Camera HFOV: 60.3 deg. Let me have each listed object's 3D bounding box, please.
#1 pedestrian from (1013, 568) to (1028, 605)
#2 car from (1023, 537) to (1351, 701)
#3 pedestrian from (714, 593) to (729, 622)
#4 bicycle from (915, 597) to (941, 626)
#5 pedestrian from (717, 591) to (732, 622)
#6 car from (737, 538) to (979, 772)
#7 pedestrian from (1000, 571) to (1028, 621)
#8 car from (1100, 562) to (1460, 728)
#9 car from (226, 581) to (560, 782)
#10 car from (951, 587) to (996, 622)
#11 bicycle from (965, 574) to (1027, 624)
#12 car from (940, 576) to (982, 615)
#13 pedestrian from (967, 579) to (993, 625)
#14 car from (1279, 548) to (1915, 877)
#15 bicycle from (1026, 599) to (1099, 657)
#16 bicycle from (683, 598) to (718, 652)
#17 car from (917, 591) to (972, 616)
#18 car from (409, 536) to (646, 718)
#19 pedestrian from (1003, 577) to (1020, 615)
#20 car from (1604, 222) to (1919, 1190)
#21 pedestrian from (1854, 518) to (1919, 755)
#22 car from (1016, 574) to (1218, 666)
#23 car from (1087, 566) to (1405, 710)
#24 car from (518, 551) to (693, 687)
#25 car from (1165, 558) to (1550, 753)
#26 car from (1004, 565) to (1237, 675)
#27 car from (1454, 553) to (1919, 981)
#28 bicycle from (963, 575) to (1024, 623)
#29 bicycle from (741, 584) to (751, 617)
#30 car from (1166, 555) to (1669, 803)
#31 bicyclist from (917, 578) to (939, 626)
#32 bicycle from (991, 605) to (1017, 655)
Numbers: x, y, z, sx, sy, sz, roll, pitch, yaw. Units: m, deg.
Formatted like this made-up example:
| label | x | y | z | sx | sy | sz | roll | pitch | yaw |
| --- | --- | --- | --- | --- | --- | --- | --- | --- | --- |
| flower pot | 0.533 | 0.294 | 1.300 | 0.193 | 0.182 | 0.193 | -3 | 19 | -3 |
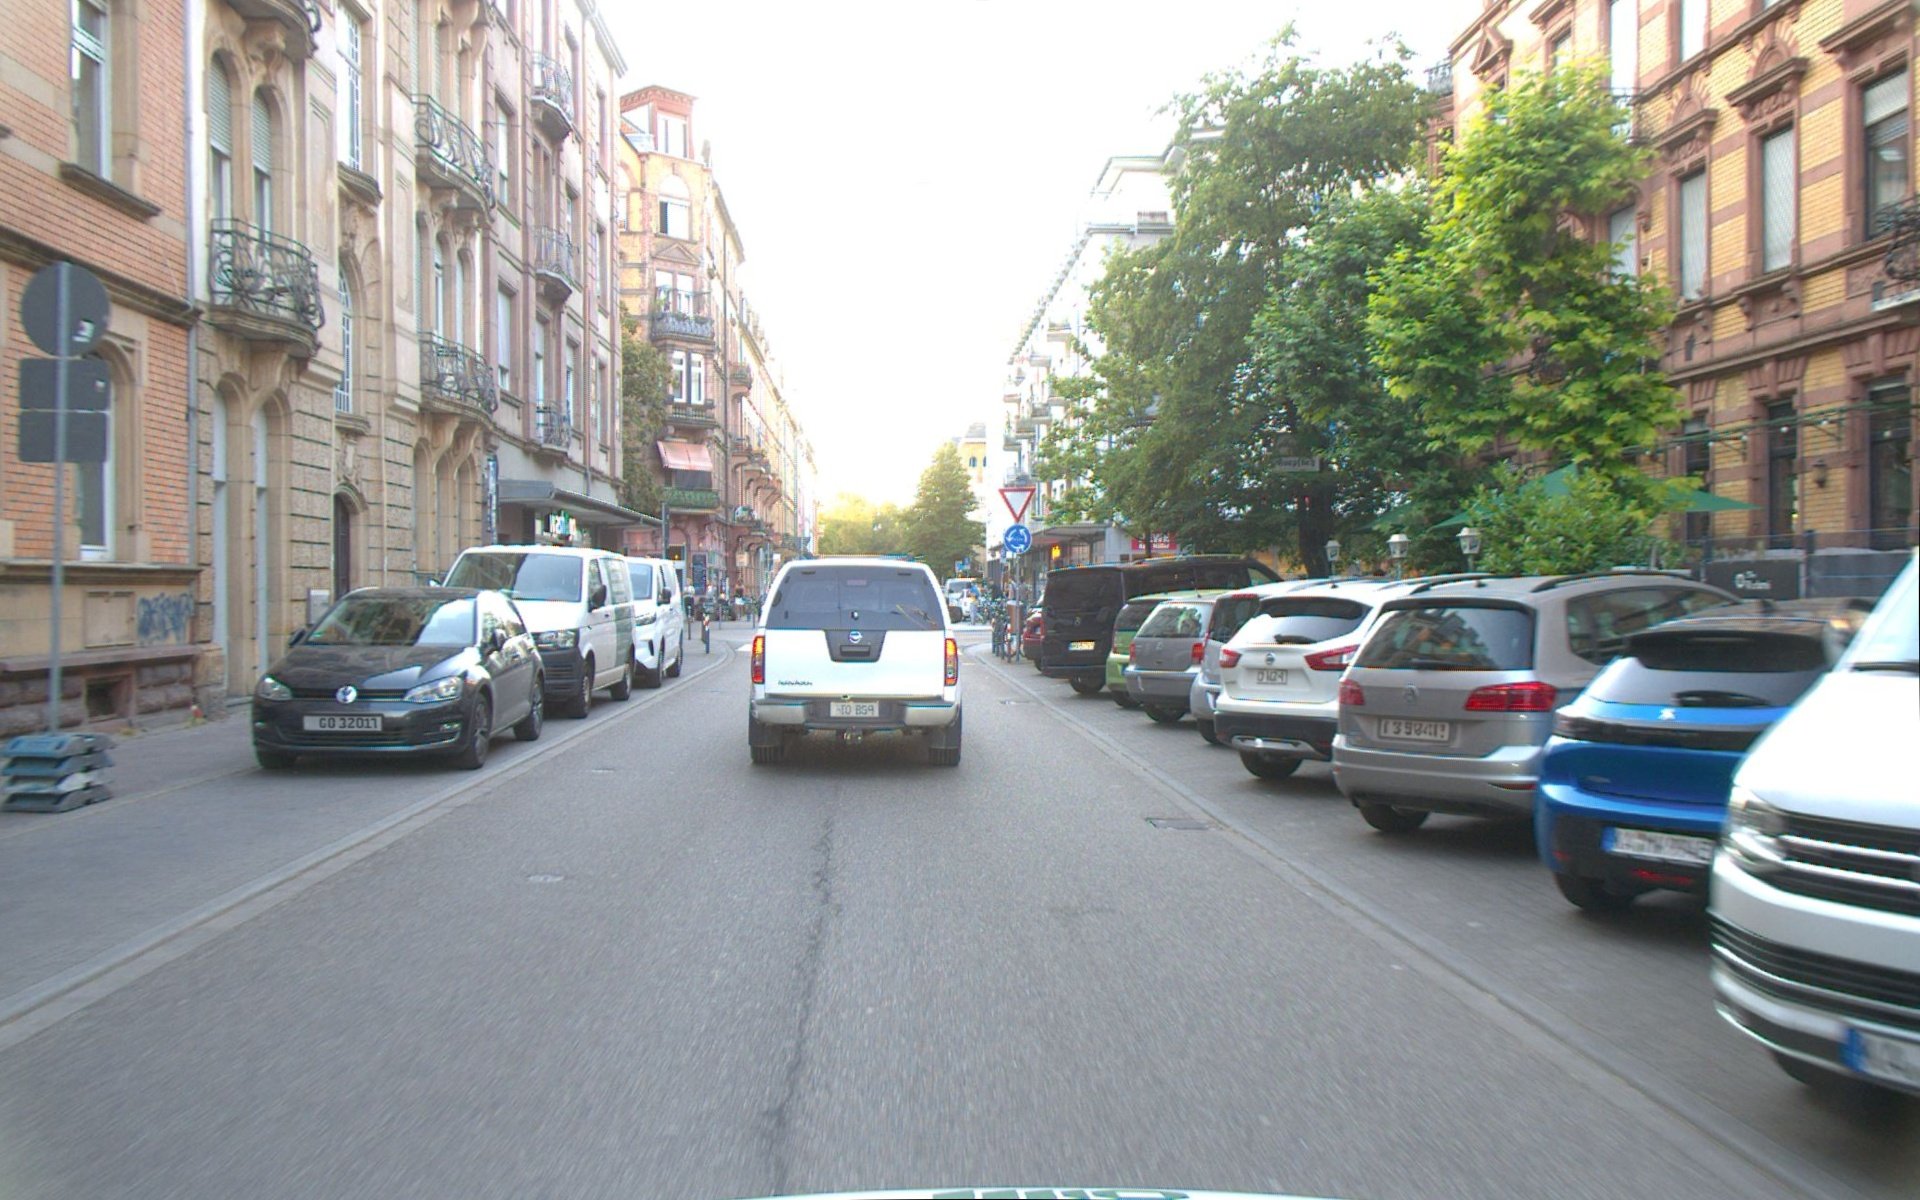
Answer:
| label | x | y | z | sx | sy | sz | roll | pitch | yaw |
| --- | --- | --- | --- | --- | --- | --- | --- | --- | --- |
| pedestrian | 3.190 | -0.706 | 87.022 | 0.705 | 1.940 | 0.702 | 1 | -1 | -3 |
| car | 3.584 | 0.210 | 25.310 | 5.391 | 2.108 | 1.904 | -4 | 2 | -42 |
| pedestrian | -10.336 | 0.330 | 71.674 | 0.636 | 1.211 | 0.539 | 1 | -1 | -7 |
| bicycle | -1.356 | 0.484 | 69.425 | 0.822 | 1.192 | 1.931 | 1 | 0 | -9 |
| pedestrian | -10.369 | 0.287 | 72.860 | 0.636 | 1.308 | 0.539 | 1 | -1 | -7 |
| car | -0.823 | 0.452 | 15.755 | 1.898 | 1.842 | 5.000 | 1 | 0 | 0 |
| pedestrian | 2.125 | -0.160 | 65.028 | 0.895 | 1.918 | 0.608 | 1 | -1 | -34 |
| car | 3.783 | 0.456 | 19.298 | 4.062 | 1.578 | 1.796 | -4 | 2 | -35 |
| car | -4.749 | 0.596 | 14.486 | 1.801 | 1.496 | 4.168 | 0 | 0 | -5 |
| car | 0.613 | 0.223 | 78.163 | 1.798 | 1.569 | 3.997 | 1 | 0 | -4 |
| bicycle | 1.530 | -0.038 | 70.732 | 2.594 | 2.049 | 0.637 | 1 | -1 | -2 |
| car | 0.025 | -0.208 | 86.920 | 1.904 | 1.967 | 3.997 | 1 | 0 | -4 |
| pedestrian | 0.774 | 0.075 | 64.982 | 0.887 | 1.767 | 0.614 | 1 | -1 | -11 |
| car | 4.236 | 0.564 | 10.800 | 4.118 | 1.618 | 1.863 | -4 | 2 | -34 |
| bicycle | 2.189 | 0.592 | 35.291 | 1.523 | 1.181 | 0.363 | -1 | 0 | -18 |
| bicycle | -5.734 | 0.545 | 36.641 | 0.462 | 1.162 | 1.785 | 1 | 0 | 0 |
| car | -1.148 | 0.263 | 120.460 | 3.908 | 1.780 | 1.839 | 1 | 0 | -4 |
| car | -5.130 | 0.283 | 20.292 | 1.800 | 1.955 | 4.843 | 0 | 0 | -2 |
| pedestrian | 2.355 | -0.178 | 75.520 | 0.705 | 1.692 | 0.702 | 1 | -1 | -3 |
| car | 4.516 | 0.221 | 5.271 | 4.870 | 2.403 | 1.981 | -1 | 1 | -30 |
| pedestrian | 7.086 | 0.268 | 12.252 | 0.610 | 1.710 | 0.656 | 1 | -1 | 8 |
| car | 3.245 | 0.365 | 33.906 | 4.003 | 1.656 | 1.672 | -3 | 2 | -35 |
| car | 3.843 | 0.443 | 21.985 | 4.062 | 1.578 | 1.796 | -4 | 2 | -35 |
| car | -5.528 | 0.260 | 26.394 | 2.068 | 1.955 | 5.021 | 0 | 0 | -4 |
| car | 4.144 | 0.480 | 16.932 | 4.074 | 1.618 | 1.791 | -4 | 2 | -41 |
| car | 3.014 | 0.327 | 30.552 | 4.189 | 1.717 | 1.904 | -4 | 2 | -42 |
| car | 4.571 | 0.588 | 8.153 | 4.113 | 1.618 | 1.865 | -1 | 1 | -32 |
| bicycle | 1.448 | -0.036 | 71.543 | 2.594 | 2.049 | 0.637 | 1 | -1 | -2 |
| bicycle | -9.660 | 0.035 | 74.529 | 0.416 | 1.468 | 1.901 | 1 | 0 | -7 |
| car | 3.853 | 0.537 | 13.701 | 4.061 | 1.618 | 1.797 | -4 | 2 | -34 |
| bicyclist | -1.339 | 0.091 | 69.372 | 0.822 | 1.978 | 0.783 | 1 | -1 | -9 |
| bicycle | 0.978 | 0.665 | 37.167 | 0.357 | 1.082 | 1.550 | 1 | 0 | -7 |
